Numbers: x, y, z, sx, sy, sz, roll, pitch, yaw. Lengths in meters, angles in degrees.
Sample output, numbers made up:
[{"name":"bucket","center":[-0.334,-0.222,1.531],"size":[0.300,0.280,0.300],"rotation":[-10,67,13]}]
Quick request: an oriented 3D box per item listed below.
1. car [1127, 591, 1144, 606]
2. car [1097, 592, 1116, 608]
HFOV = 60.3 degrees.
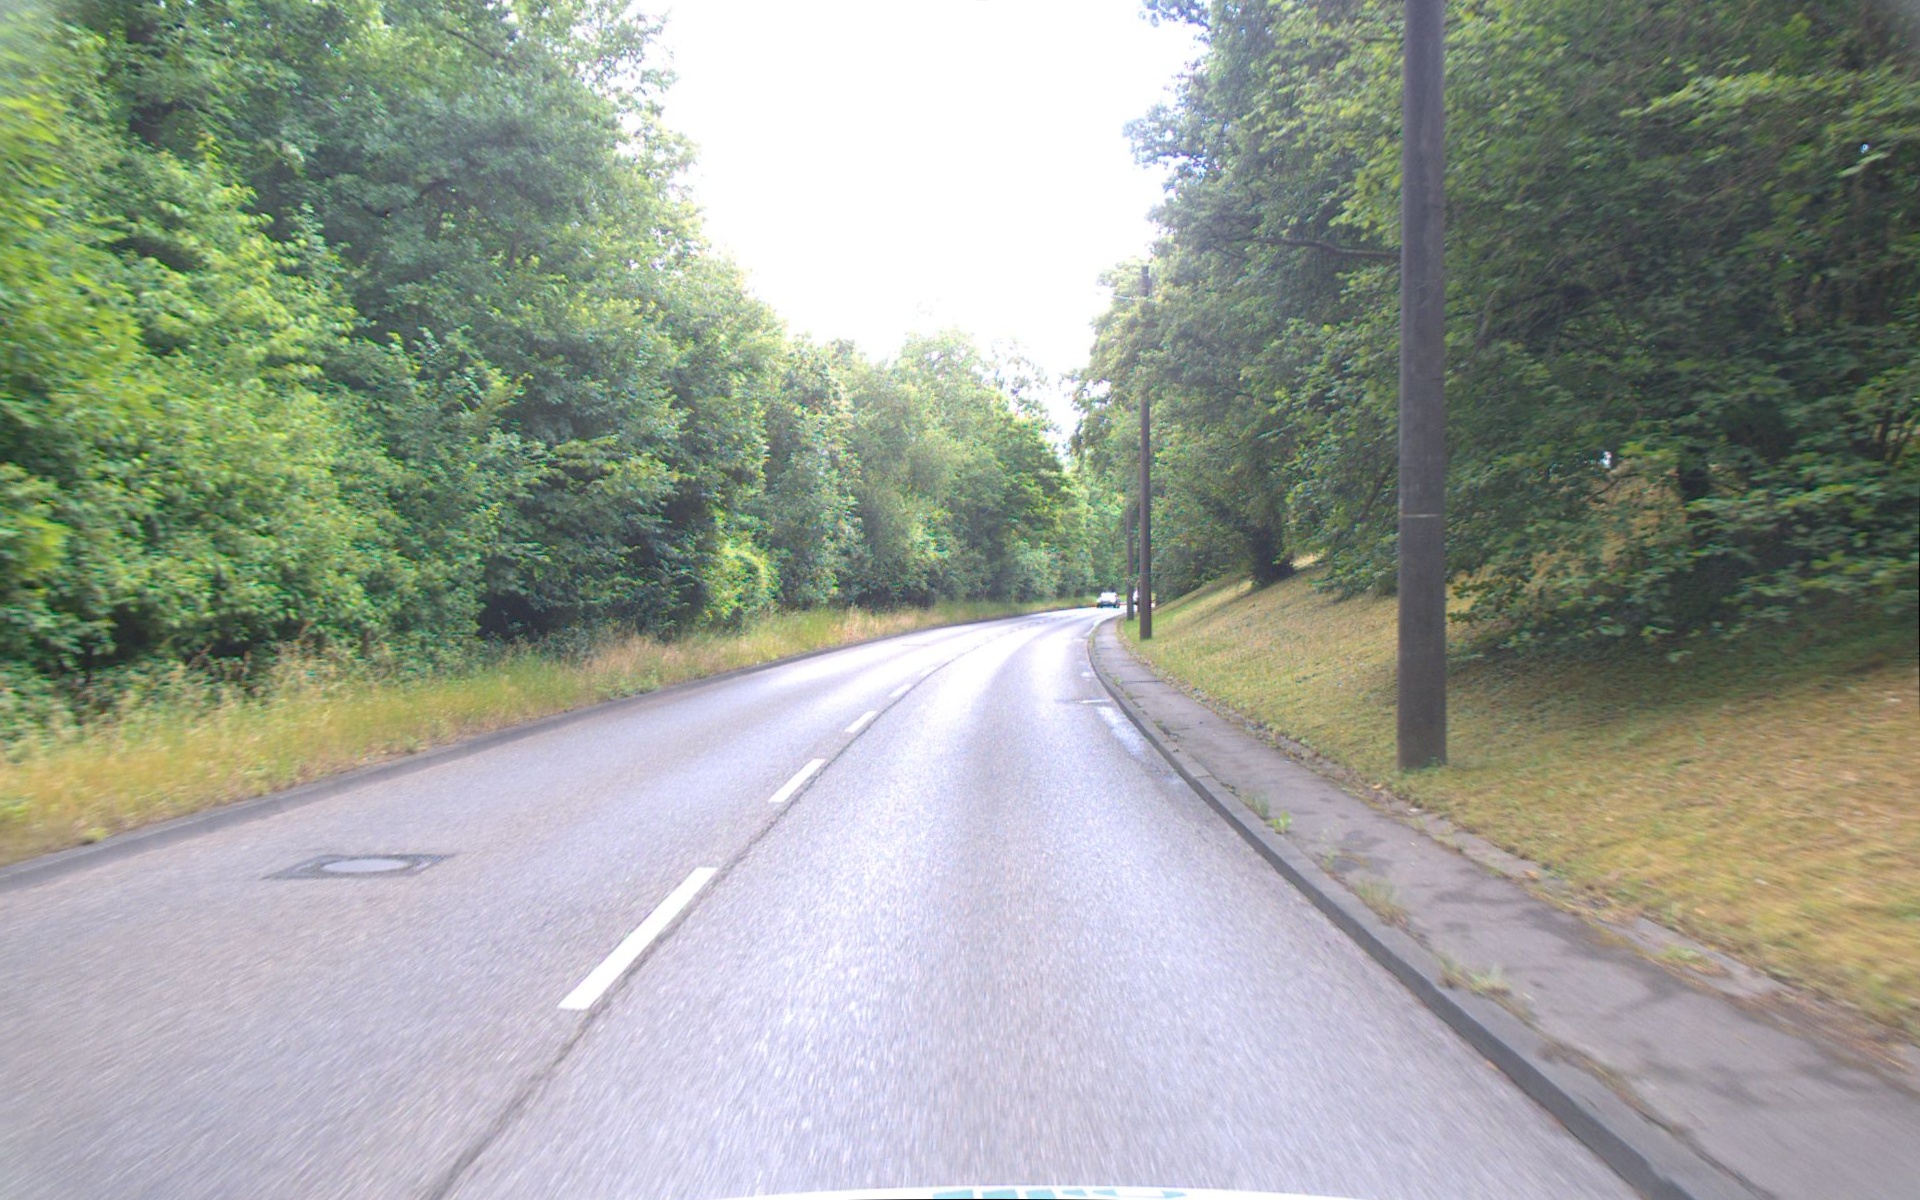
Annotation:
[{"name":"car","center":[19.777,-0.164,186.452],"size":[1.901,1.609,4.443],"rotation":[0,0,5]},{"name":"car","center":[13.912,-0.011,156.890],"size":[1.771,1.445,4.002],"rotation":[0,0,5]}]
